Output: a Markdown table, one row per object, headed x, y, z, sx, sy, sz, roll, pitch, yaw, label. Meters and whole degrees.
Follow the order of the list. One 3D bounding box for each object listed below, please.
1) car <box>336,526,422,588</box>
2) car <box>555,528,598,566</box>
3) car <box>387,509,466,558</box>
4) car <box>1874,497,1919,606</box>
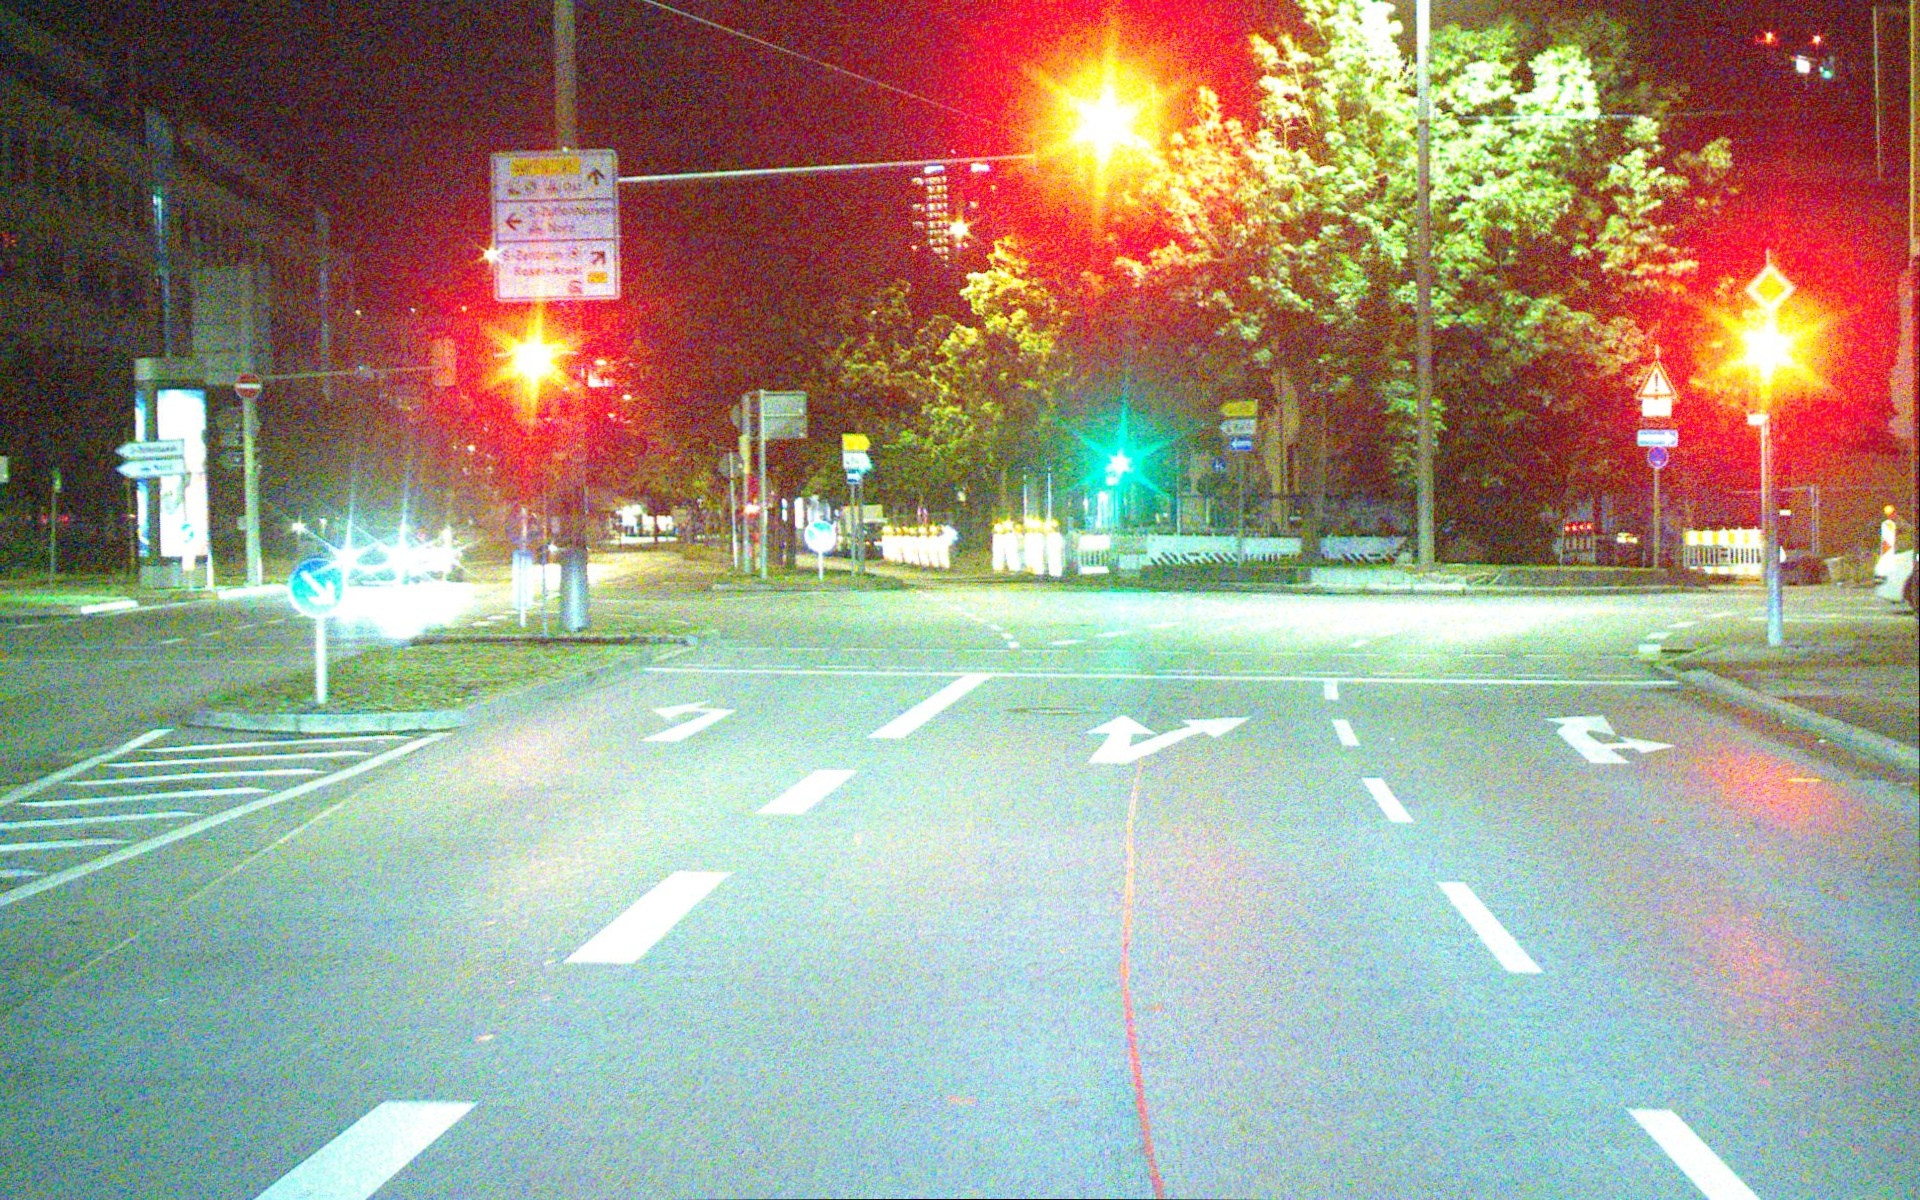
| x | y | z | sx | sy | sz | roll | pitch | yaw | label |
| --- | --- | --- | --- | --- | --- | --- | --- | --- | --- |
| -14.400 | -1.076 | 85.382 | 1.615 | 1.509 | 4.000 | 0 | 1 | -2 | car |
| -17.809 | -2.455 | 159.764 | 1.757 | 1.722 | 3.548 | 0 | 1 | -3 | car |
| -14.478 | -1.793 | 93.369 | 1.757 | 1.317 | 3.548 | 0 | 1 | -3 | car |
| 14.777 | -0.670 | 47.322 | 3.993 | 1.486 | 1.706 | 0 | 1 | 27 | car |
